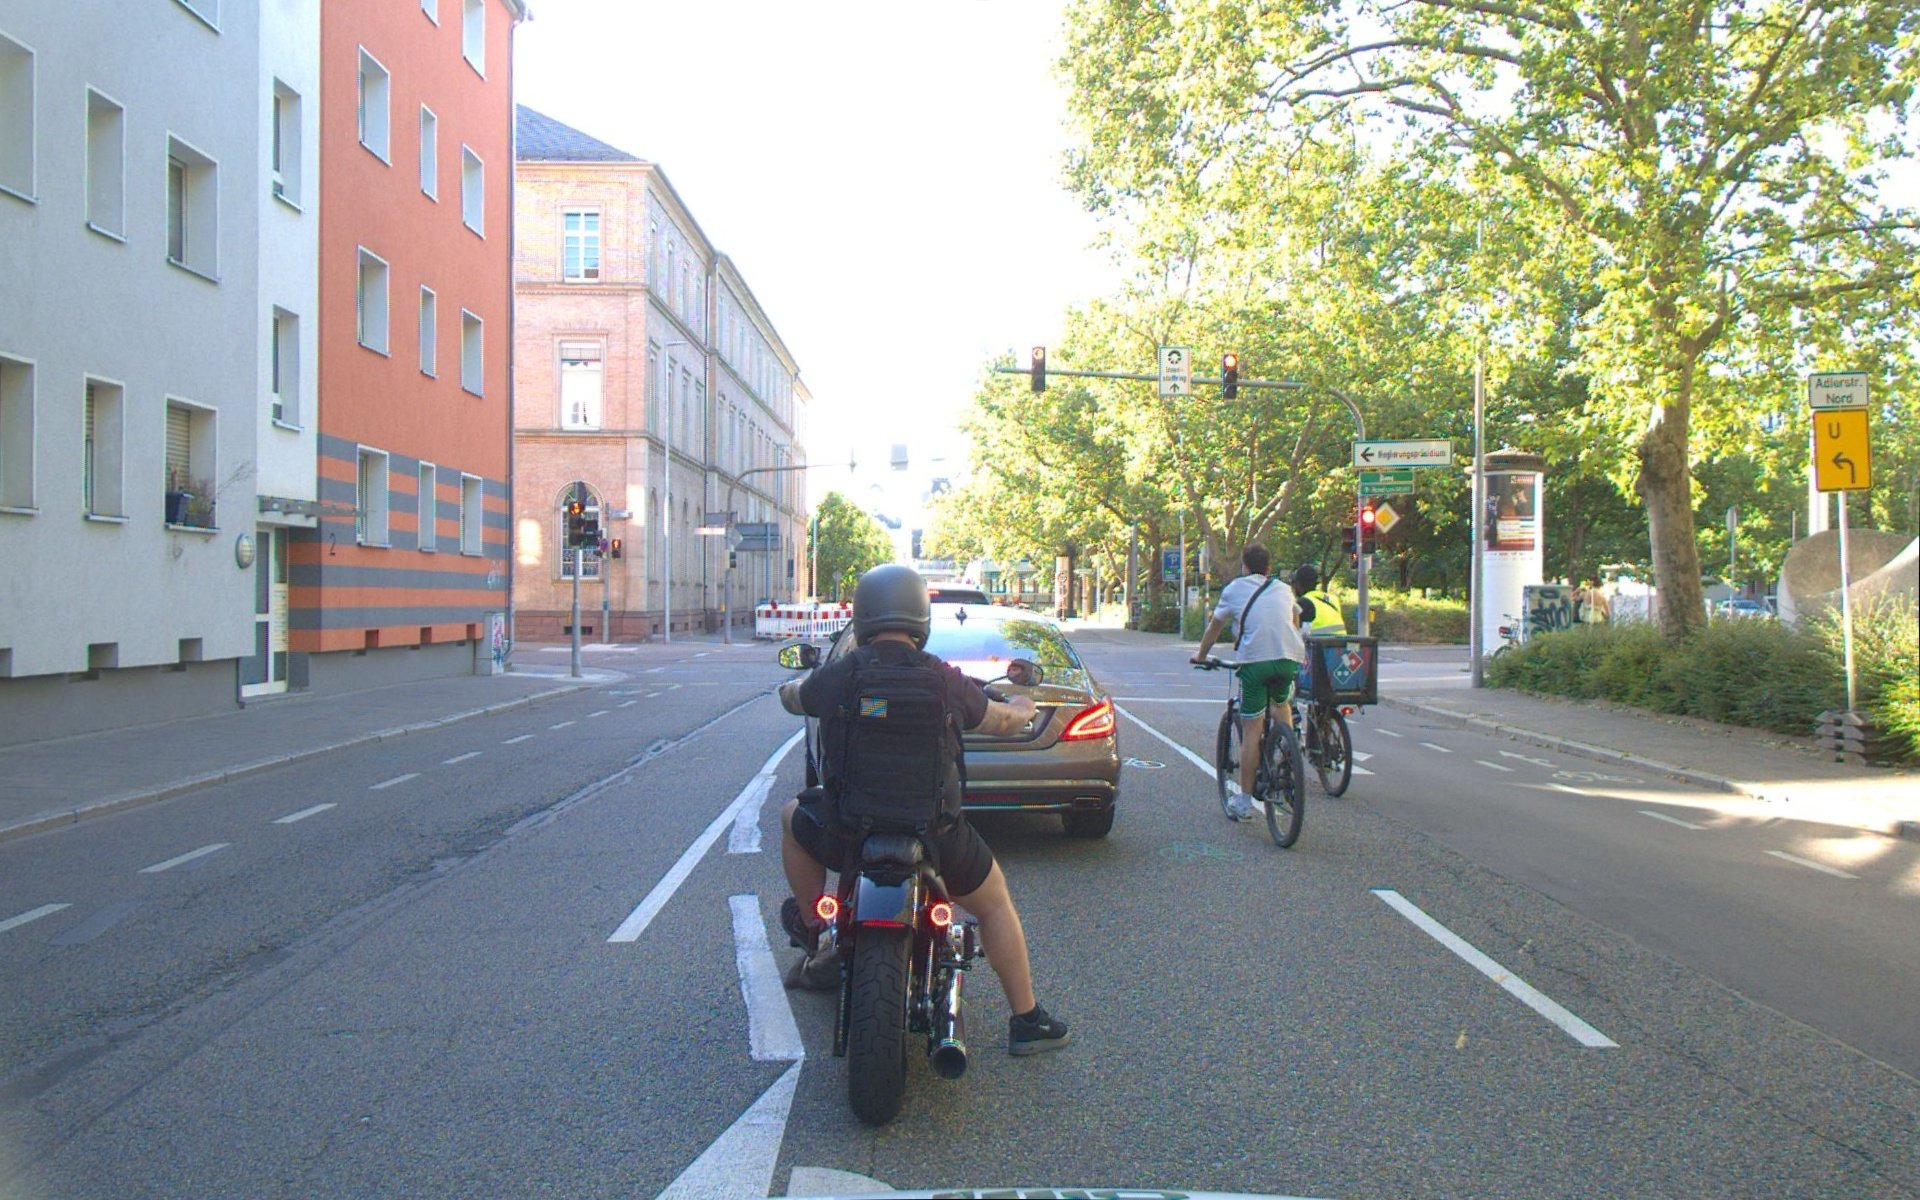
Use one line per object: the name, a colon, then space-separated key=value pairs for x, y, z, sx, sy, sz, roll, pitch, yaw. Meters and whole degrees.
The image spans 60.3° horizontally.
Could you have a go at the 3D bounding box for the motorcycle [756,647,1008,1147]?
motorcycle: x=-0.219 y=0.813 z=5.400 sx=0.646 sy=1.261 sz=2.057 roll=1 pitch=0 yaw=-1

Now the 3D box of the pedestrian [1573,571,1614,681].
pedestrian: x=10.831 y=0.439 z=28.289 sx=0.634 sy=1.859 sz=0.667 roll=0 pitch=0 yaw=20

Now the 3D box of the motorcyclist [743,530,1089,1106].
motorcyclist: x=-0.132 y=0.629 z=5.310 sx=0.970 sy=1.639 sz=1.120 roll=1 pitch=0 yaw=-1

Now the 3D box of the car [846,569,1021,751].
car: x=-0.275 y=0.574 z=17.586 sx=1.618 sy=1.681 sz=3.999 roll=1 pitch=0 yaw=-1

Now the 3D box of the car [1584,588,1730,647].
car: x=21.990 y=0.540 z=52.279 sx=3.907 sy=1.803 sz=1.737 roll=0 pitch=0 yaw=-3

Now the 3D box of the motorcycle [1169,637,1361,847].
motorcycle: x=1.921 y=0.859 z=10.709 sx=0.845 sy=1.189 sz=1.929 roll=1 pitch=0 yaw=-1

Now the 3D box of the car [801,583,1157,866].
car: x=-0.086 y=0.684 z=11.110 sx=1.790 sy=1.512 sz=4.326 roll=1 pitch=0 yaw=-7

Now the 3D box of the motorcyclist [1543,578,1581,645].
motorcyclist: x=17.371 y=0.333 z=47.743 sx=0.962 sy=1.909 sz=0.376 roll=0 pitch=-1 yaw=3

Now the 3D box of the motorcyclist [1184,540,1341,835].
motorcyclist: x=1.938 y=0.545 z=10.709 sx=0.814 sy=1.820 sz=0.913 roll=1 pitch=-1 yaw=-1

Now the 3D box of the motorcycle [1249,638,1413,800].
motorcycle: x=2.952 y=0.908 z=13.401 sx=0.781 sy=1.151 sz=2.236 roll=1 pitch=0 yaw=-1

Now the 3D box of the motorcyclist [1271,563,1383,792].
motorcyclist: x=2.929 y=0.604 z=13.243 sx=0.702 sy=1.773 sz=0.751 roll=1 pitch=-1 yaw=-1

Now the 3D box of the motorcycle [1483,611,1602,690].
motorcycle: x=9.775 y=0.837 z=27.808 sx=1.743 sy=1.265 sz=0.723 roll=1 pitch=0 yaw=4
